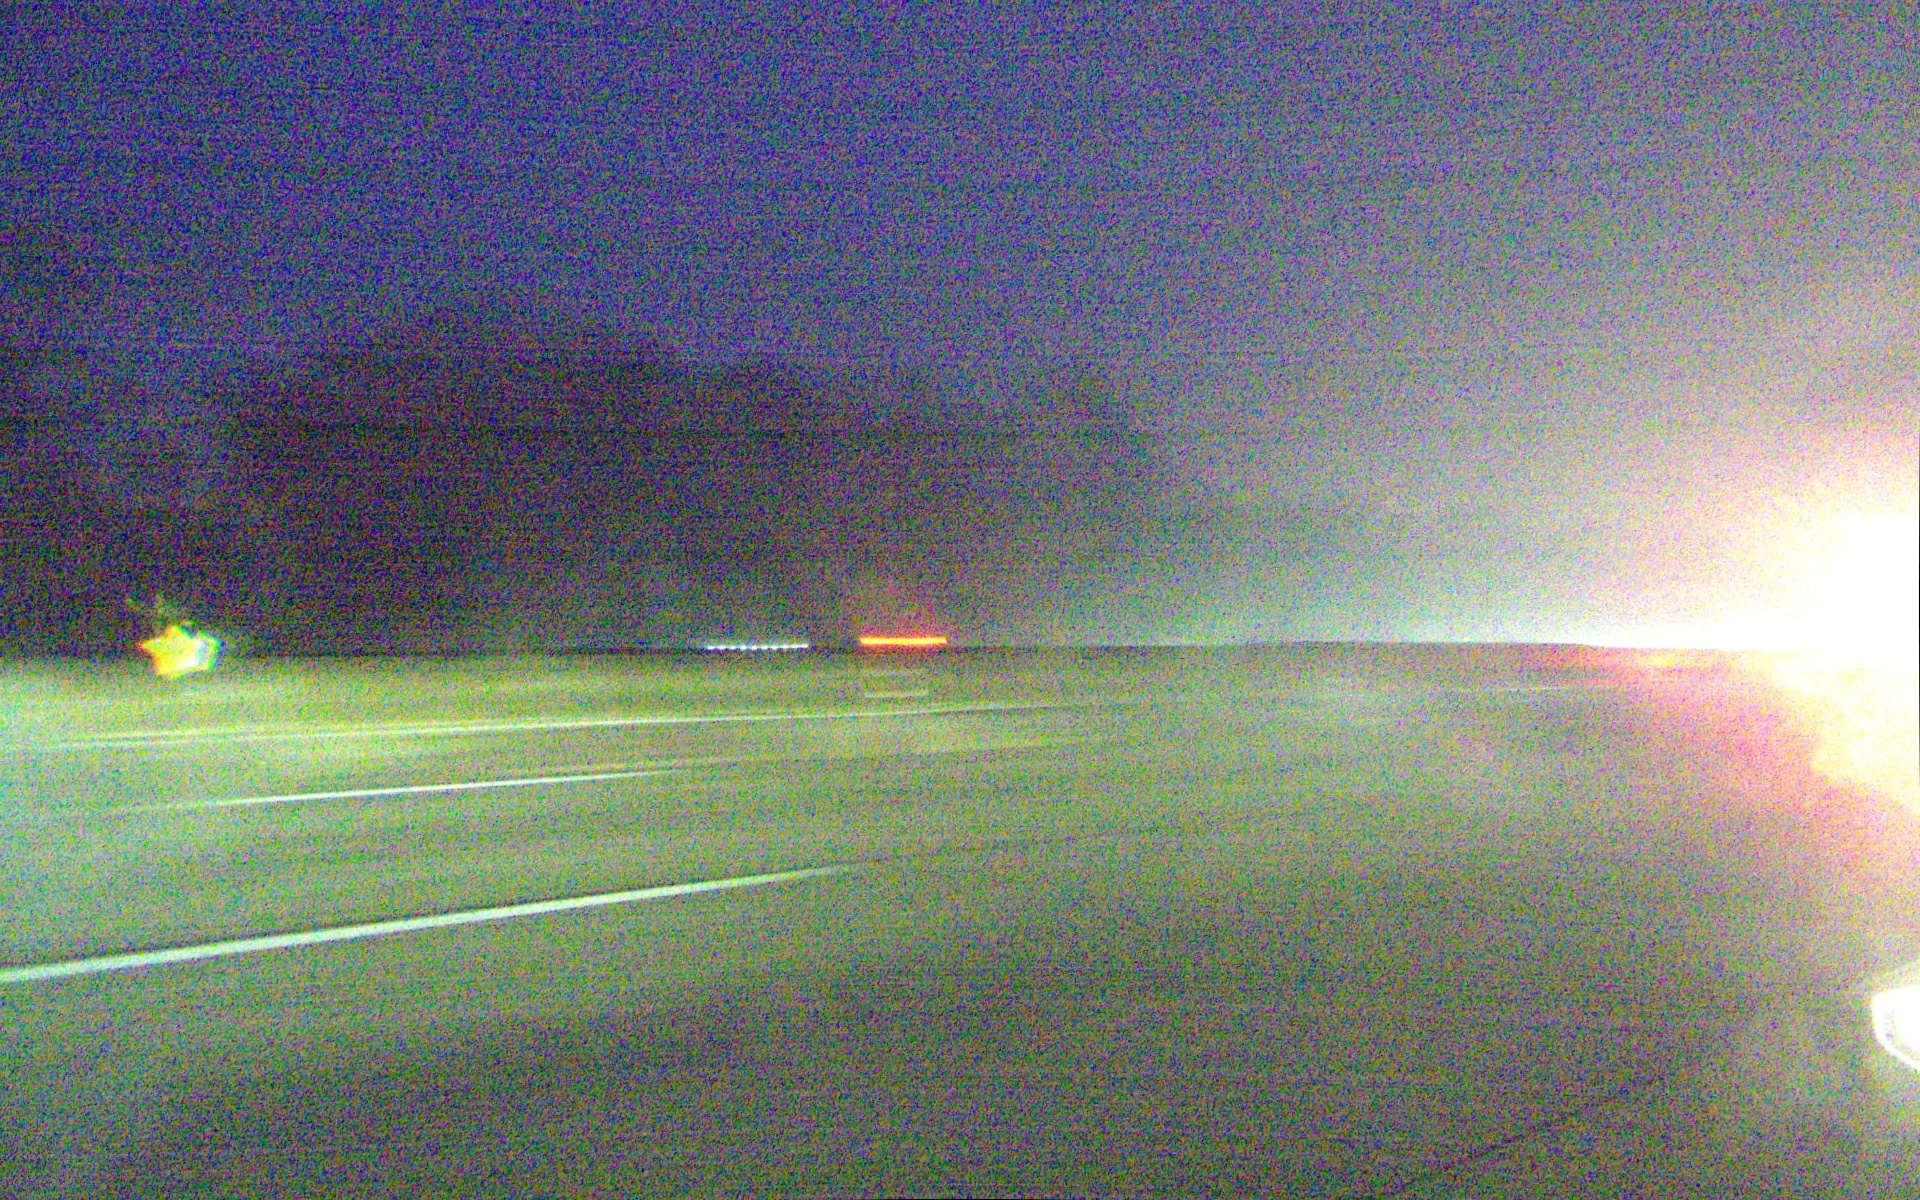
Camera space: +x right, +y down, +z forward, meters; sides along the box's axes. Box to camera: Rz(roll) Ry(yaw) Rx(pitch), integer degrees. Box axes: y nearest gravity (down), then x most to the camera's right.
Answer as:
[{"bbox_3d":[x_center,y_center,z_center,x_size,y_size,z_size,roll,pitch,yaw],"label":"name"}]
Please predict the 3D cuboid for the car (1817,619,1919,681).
[{"bbox_3d":[26.833,1.437,29.297,3.963,1.617,1.979,2,-1,-37],"label":"car"}]

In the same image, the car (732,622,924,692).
[{"bbox_3d":[-3.296,1.408,25.336,4.411,1.578,1.870,2,-1,-32],"label":"car"}]
